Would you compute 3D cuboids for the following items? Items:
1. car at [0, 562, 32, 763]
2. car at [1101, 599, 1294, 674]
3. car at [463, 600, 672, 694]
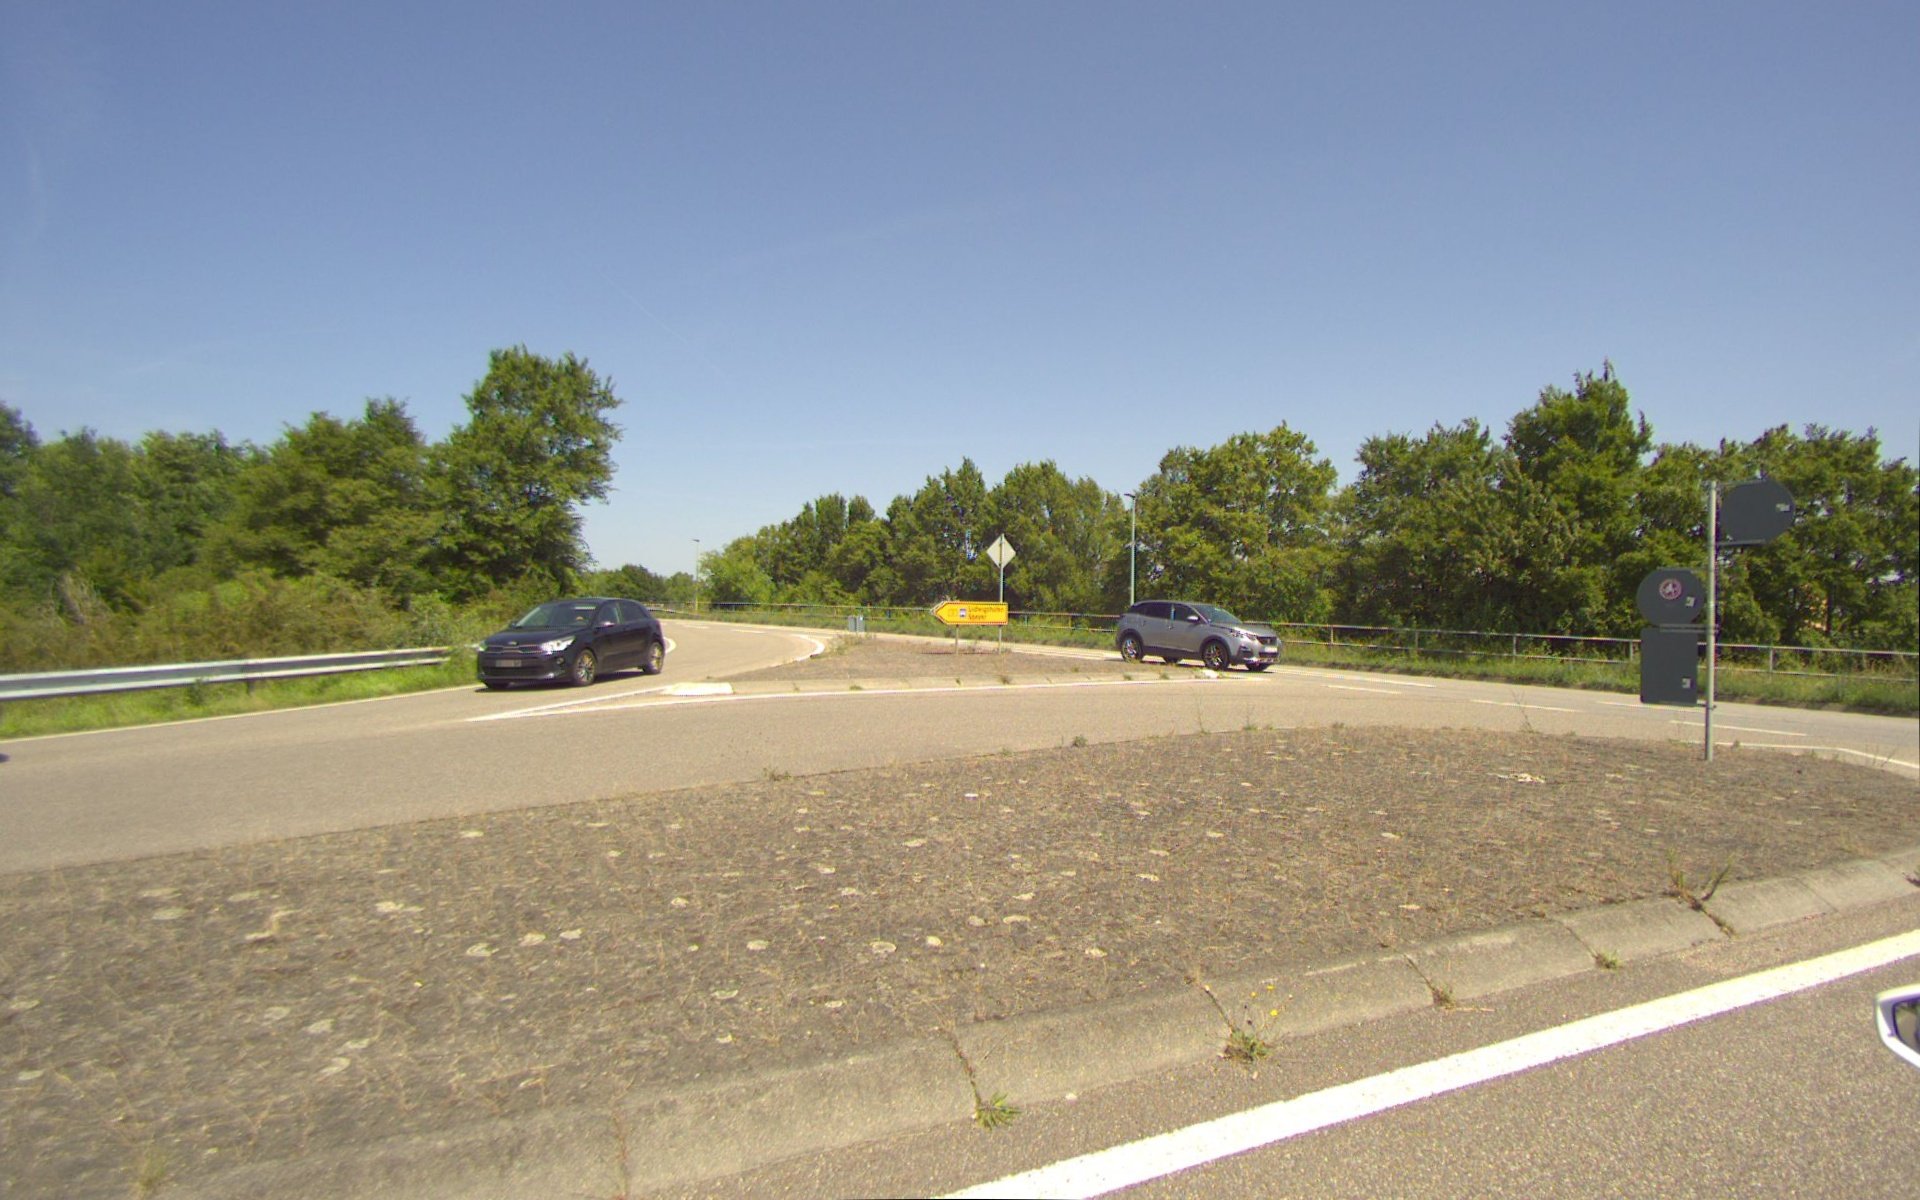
[{"bbox_3d":[-10.163,0.599,7.742,1.711,1.785,4.075,-1,0,30],"label":"car"},{"bbox_3d":[5.751,0.846,24.746,1.783,1.604,4.439,3,-1,-39],"label":"car"},{"bbox_3d":[-6.655,0.731,17.506,1.679,1.414,3.889,-2,0,8],"label":"car"}]
